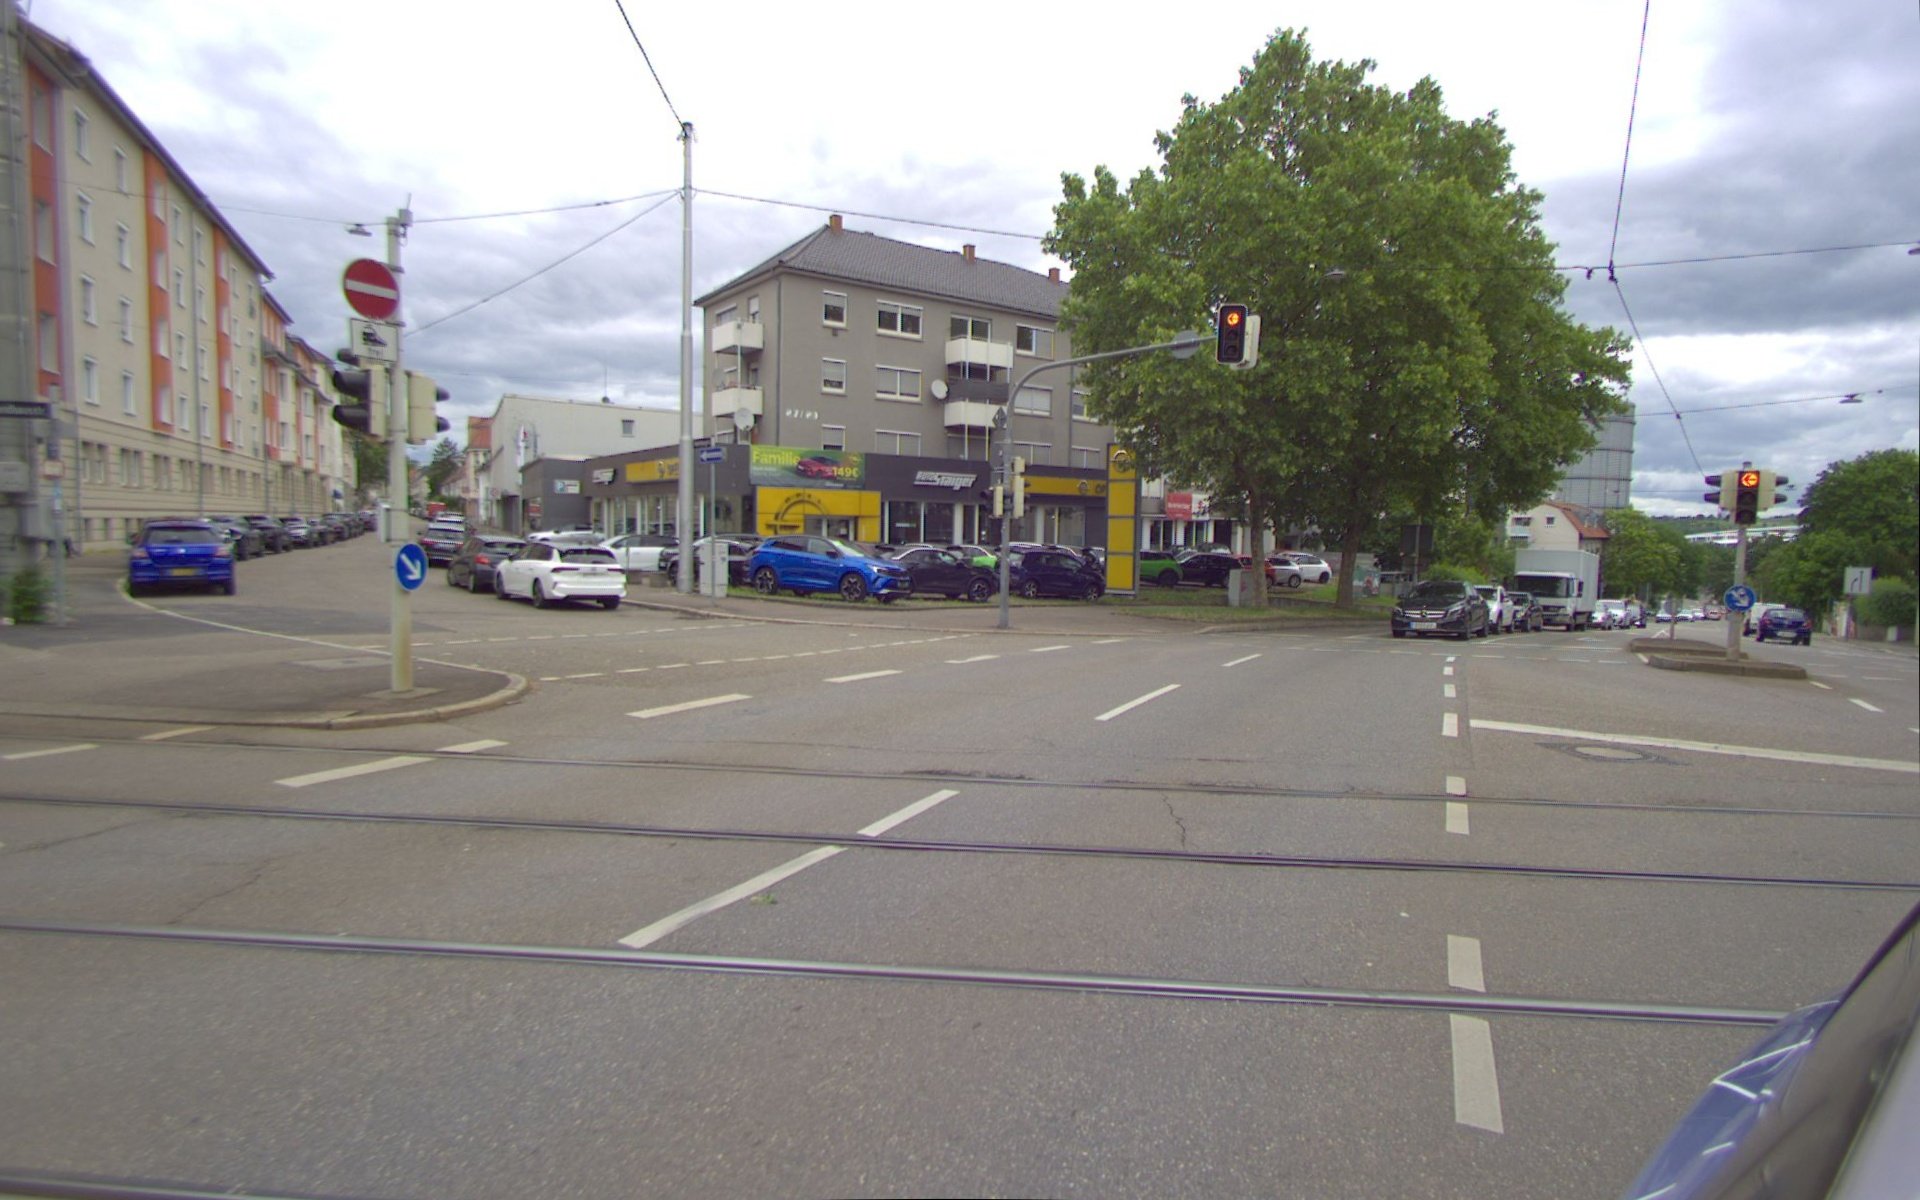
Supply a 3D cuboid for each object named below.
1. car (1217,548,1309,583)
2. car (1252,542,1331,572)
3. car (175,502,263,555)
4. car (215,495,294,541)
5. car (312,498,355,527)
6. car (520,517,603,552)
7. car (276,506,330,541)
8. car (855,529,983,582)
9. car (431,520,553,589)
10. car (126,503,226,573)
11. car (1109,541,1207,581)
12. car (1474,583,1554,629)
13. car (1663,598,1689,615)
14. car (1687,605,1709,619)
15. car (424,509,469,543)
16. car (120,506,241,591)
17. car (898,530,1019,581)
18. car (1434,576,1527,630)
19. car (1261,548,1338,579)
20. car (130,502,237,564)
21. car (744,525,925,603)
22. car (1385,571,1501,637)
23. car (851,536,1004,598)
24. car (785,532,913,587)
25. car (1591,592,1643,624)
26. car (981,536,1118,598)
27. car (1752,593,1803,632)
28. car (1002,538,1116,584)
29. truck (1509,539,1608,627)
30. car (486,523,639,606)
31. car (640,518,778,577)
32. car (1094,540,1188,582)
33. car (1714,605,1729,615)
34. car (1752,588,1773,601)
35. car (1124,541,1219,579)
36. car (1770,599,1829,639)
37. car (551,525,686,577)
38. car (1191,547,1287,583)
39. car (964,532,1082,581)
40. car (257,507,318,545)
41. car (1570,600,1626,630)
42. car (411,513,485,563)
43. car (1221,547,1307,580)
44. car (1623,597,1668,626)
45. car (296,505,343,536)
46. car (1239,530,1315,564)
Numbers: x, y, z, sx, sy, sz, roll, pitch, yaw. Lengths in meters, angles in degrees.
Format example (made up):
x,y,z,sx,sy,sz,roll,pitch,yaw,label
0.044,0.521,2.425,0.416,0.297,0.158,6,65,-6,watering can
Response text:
x,y,z,sx,sy,sz,roll,pitch,yaw,label
15.132,-1.726,50.677,3.919,1.522,1.867,2,3,-7,car
19.263,-2.512,58.873,3.916,1.522,1.868,2,3,-13,car
-25.523,-2.515,34.983,1.879,1.652,4.150,1,4,-28,car
-27.929,-3.280,40.207,1.878,1.652,4.152,1,4,-25,car
-39.465,-5.519,63.803,1.879,1.652,4.151,1,4,-26,car
-20.158,-3.309,51.189,3.813,1.553,1.724,1,4,-25,car
-34.327,-4.046,52.977,1.879,1.652,4.151,1,4,-26,car
-1.403,-1.523,34.000,3.974,1.568,1.841,5,4,34,car
-12.502,-1.235,26.897,1.885,1.553,4.138,0,5,-41,car
-20.161,-1.635,26.060,1.883,1.553,4.141,0,5,-38,car
8.654,-1.741,44.550,3.926,1.522,1.755,3,3,2,car
20.133,0.172,36.677,1.988,1.483,4.352,2,2,36,car
76.500,0.674,108.044,1.991,1.619,3.944,2,2,39,car
92.555,1.473,126.846,1.991,1.619,3.944,2,2,39,car
-25.876,-3.765,51.074,1.879,1.553,4.152,1,4,-26,car
-16.591,-1.145,21.520,1.884,1.553,4.140,0,5,-39,car
-0.093,-1.595,35.590,3.982,1.568,1.837,5,4,39,car
16.525,0.042,32.023,1.988,1.545,4.202,2,2,36,car
18.679,-2.039,55.775,3.541,1.522,1.797,1,3,-15,car
-23.041,-2.045,30.175,1.879,1.652,4.150,1,4,-28,car
-3.186,-0.924,25.515,4.224,1.596,1.811,6,3,29,car
12.748,0.036,26.586,1.988,1.545,4.202,2,2,36,car
-0.922,-0.938,28.961,3.919,1.494,1.833,2,3,-30,car
-3.634,-1.350,32.842,3.982,1.568,1.837,5,4,39,car
37.379,0.409,57.551,1.991,1.649,4.347,2,2,39,car
2.978,-1.076,33.497,4.085,1.625,1.835,2,8,-30,car
46.079,0.652,57.110,1.861,1.906,4.229,7,4,36,car
3.798,-1.529,39.012,3.975,1.568,1.840,5,4,35,car
26.489,-0.799,44.612,2.759,3.545,8.060,2,2,37,truck
-9.051,-0.844,22.874,1.885,1.553,4.137,0,5,-42,car
-8.444,-1.751,34.250,4.175,1.802,1.710,0,5,-43,car
7.515,-1.631,42.234,3.542,1.571,1.623,2,3,0,car
139.535,1.799,185.457,1.991,1.619,3.944,2,2,39,car
100.785,-0.720,127.043,1.991,1.619,3.944,2,2,39,car
9.654,-1.839,46.375,3.926,1.522,1.863,3,3,2,car
34.603,0.745,41.728,1.753,1.465,3.698,3,3,40,car
-11.734,-1.675,34.869,4.039,1.553,1.796,1,4,-34,car
13.239,-1.686,48.147,3.917,1.522,1.867,2,3,-9,car
2.275,-1.608,37.139,3.982,1.568,1.837,5,4,39,car
-32.135,-3.588,48.479,1.879,1.652,4.151,1,4,-26,car
32.366,0.727,51.292,1.910,1.315,4.348,2,3,39,car
-18.339,-2.249,36.138,1.881,1.553,4.146,1,4,-33,car
15.975,-1.915,53.320,3.926,1.522,1.863,3,3,2,car
44.204,0.705,65.236,1.991,1.649,4.346,2,3,40,car
-36.952,-4.601,58.468,1.879,1.652,4.151,1,4,-26,car
19.124,-3.238,61.244,3.926,1.844,1.863,2,3,2,car
